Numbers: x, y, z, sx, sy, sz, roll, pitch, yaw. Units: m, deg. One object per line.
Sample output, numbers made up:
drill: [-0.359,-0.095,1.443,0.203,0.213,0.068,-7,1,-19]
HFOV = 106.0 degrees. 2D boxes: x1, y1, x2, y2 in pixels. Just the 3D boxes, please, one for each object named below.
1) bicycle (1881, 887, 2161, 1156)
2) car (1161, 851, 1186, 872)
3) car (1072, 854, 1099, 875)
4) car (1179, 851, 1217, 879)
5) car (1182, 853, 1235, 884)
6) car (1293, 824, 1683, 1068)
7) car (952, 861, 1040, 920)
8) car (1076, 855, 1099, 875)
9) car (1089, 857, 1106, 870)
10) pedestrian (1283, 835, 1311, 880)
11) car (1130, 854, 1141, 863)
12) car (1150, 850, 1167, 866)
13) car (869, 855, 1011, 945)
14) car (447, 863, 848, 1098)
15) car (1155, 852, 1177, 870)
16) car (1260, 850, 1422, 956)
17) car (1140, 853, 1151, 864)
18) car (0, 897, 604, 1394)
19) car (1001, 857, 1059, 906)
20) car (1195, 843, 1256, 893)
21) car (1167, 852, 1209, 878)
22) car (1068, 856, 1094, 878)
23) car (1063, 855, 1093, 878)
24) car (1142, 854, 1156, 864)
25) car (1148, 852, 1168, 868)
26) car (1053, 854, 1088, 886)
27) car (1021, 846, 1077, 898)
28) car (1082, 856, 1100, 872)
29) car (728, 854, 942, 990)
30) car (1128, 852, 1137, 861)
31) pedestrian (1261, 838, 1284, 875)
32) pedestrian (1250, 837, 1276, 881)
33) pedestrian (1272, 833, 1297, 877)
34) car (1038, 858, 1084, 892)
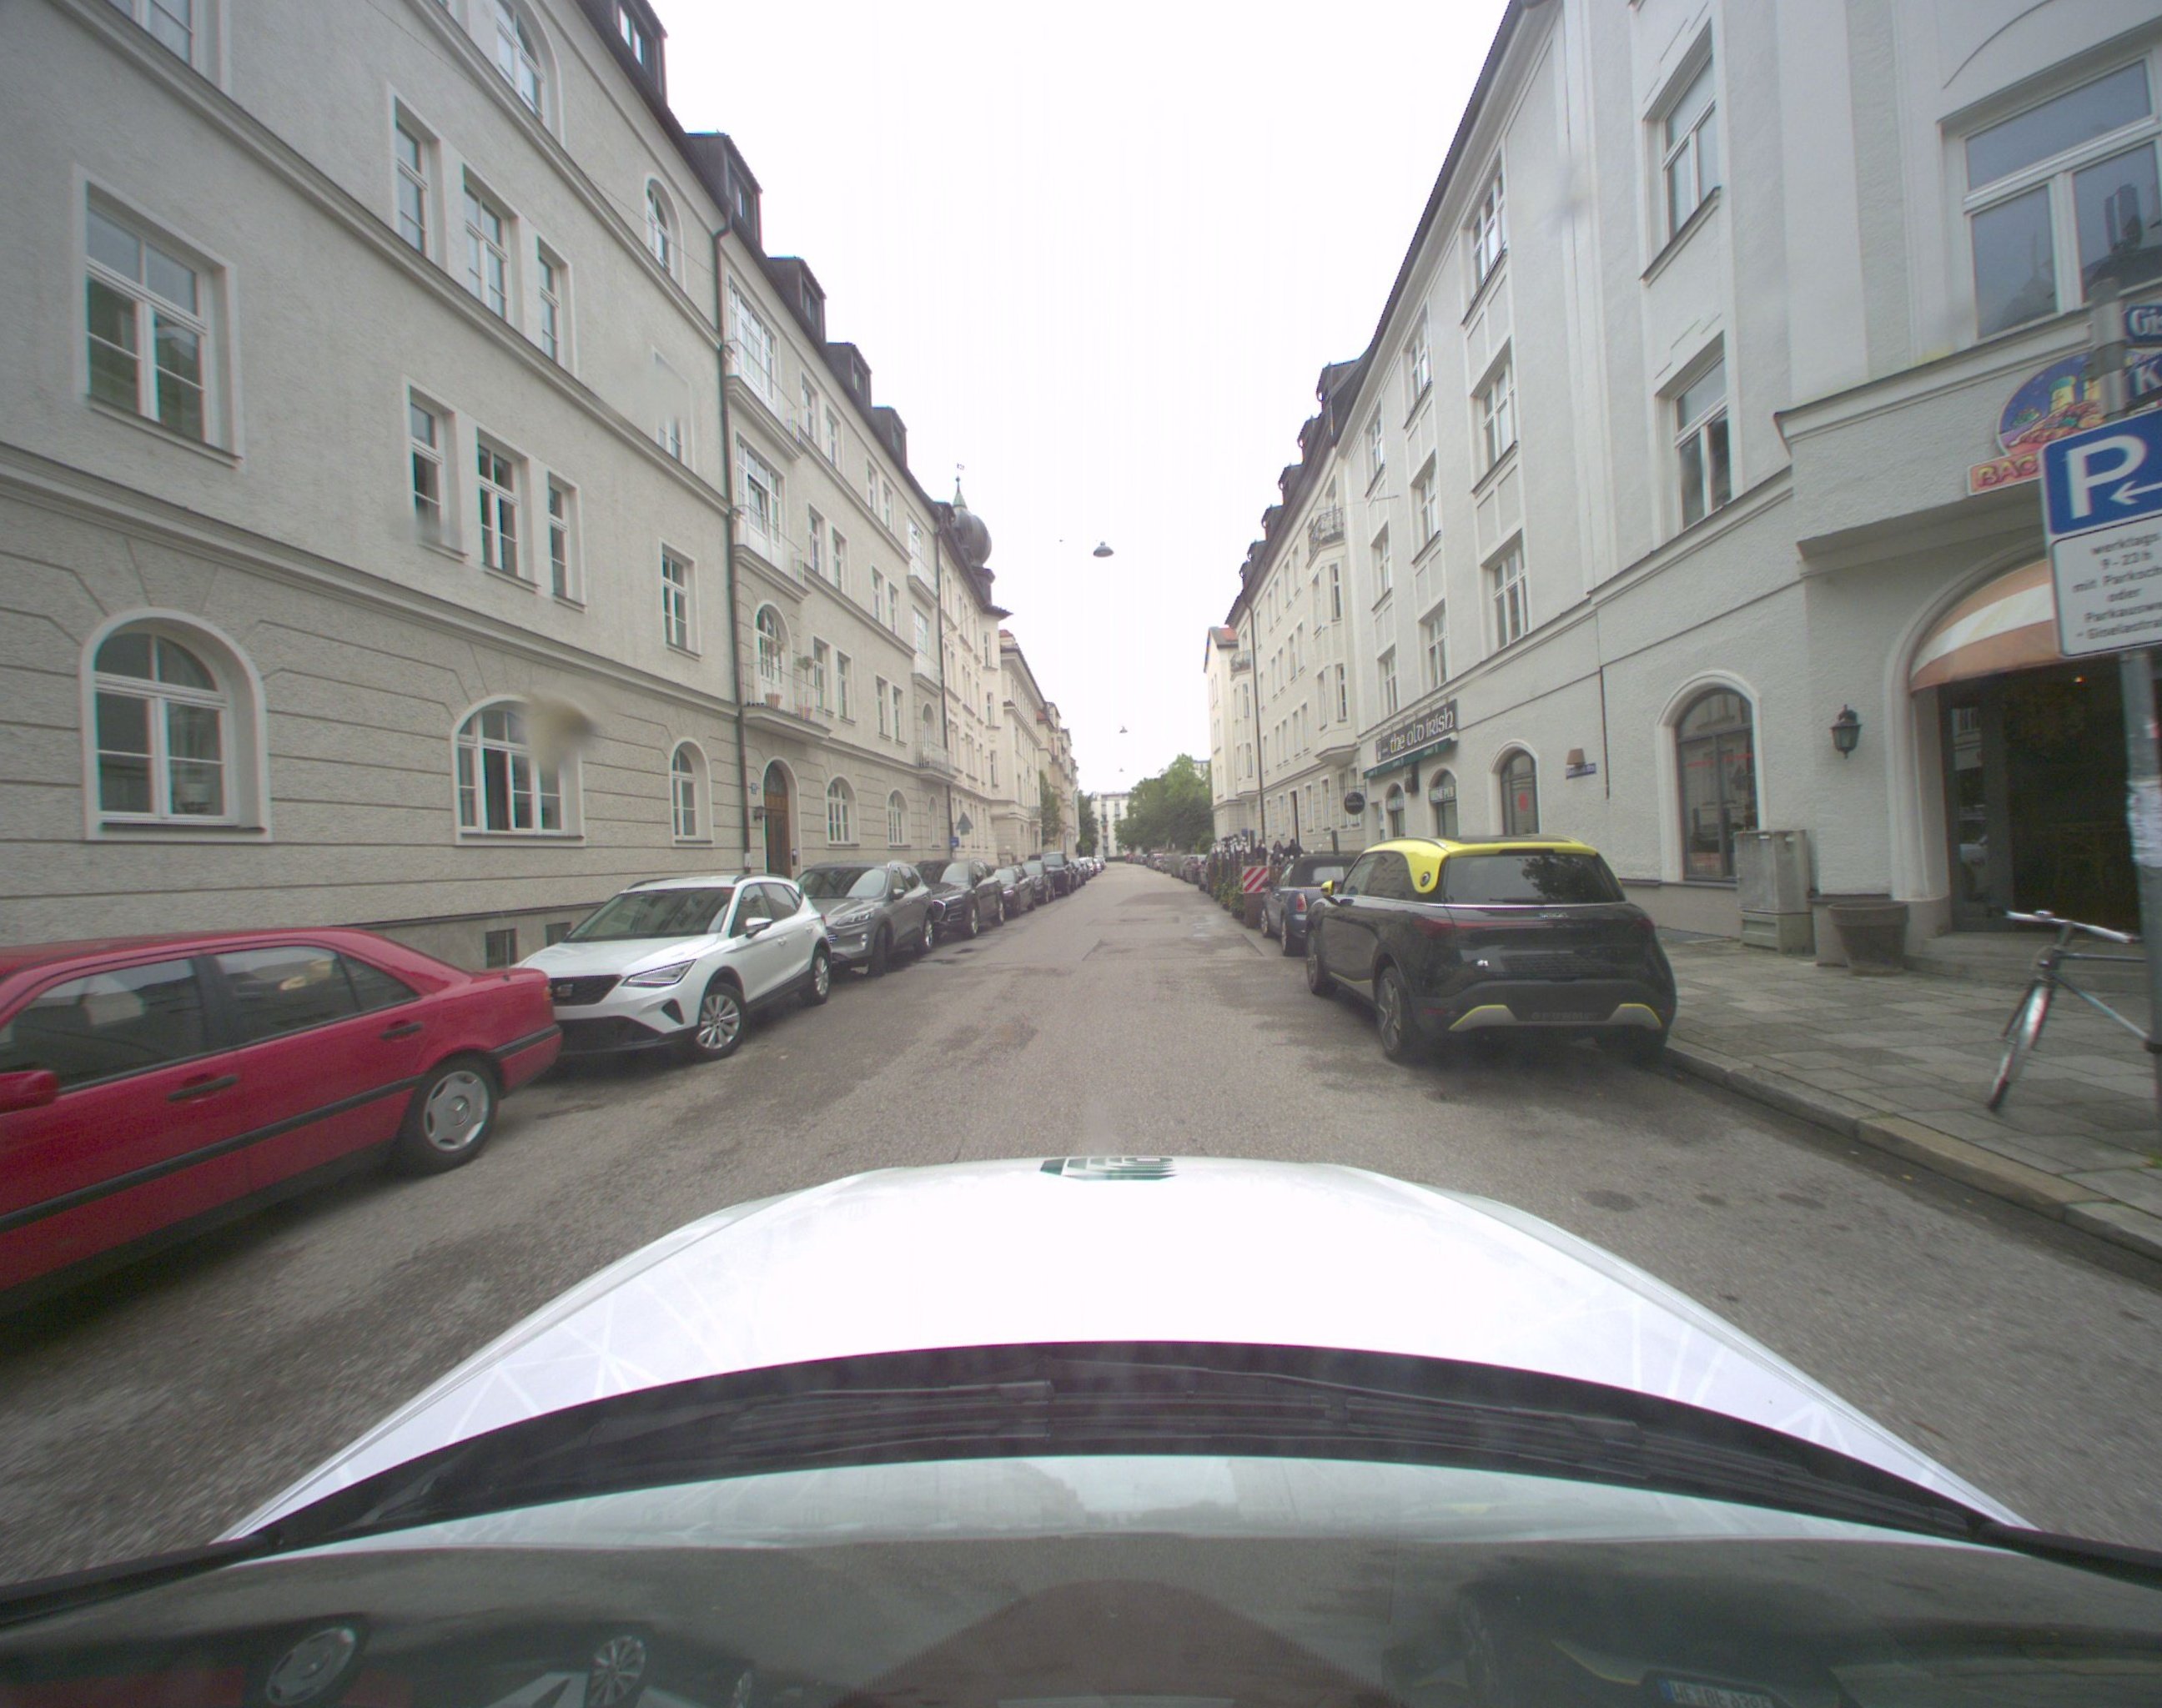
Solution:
bicycle: [4.902,0.720,3.603,0.820,1.065,1.733,-3,0,-22]
car: [7.399,0.583,65.385,1.813,1.569,4.406,0,0,5]
car: [0.379,0.843,67.627,1.907,1.618,4.575,-3,0,3]
car: [6.602,0.594,46.353,1.753,1.485,4.424,0,0,3]
car: [6.302,0.676,40.779,1.831,1.399,4.972,-1,0,-1]
car: [3.252,0.604,7.512,1.828,1.618,4.100,0,0,5]
car: [-2.351,0.977,23.657,1.646,1.407,4.098,-4,0,6]
car: [0.590,0.932,73.122,1.829,1.618,4.247,-3,0,2]
car: [2.133,1.167,103.291,1.829,1.435,4.248,-6,0,3]
pedestrian: [9.095,0.145,34.332,0.879,1.786,1.112,-3,0,3]
car: [10.759,0.880,160.104,1.833,1.519,3.945,-2,-1,-1]
car: [8.893,0.510,93.746,1.715,1.769,4.416,0,-1,3]
car: [-2.910,0.897,17.871,1.867,1.599,4.441,-3,0,6]
car: [-3.716,0.938,7.900,1.689,1.568,3.950,-3,0,0]
car: [7.908,0.638,76.382,1.777,1.504,4.068,-2,0,3]
car: [3.878,0.657,12.700,1.658,1.400,3.497,0,0,5]
car: [10.369,0.687,131.380,1.509,1.661,3.673,-2,-1,0]
car: [-4.251,1.058,3.380,1.674,1.393,4.481,-4,0,2]
car: [-1.805,0.949,29.551,1.610,1.513,3.534,-4,0,3]
car: [5.408,0.484,30.955,1.792,1.675,4.194,-3,0,4]
car: [6.664,0.678,51.306,1.987,1.457,4.713,-3,0,1]
car: [-0.016,0.982,62.542,1.777,1.541,4.256,-5,0,-1]
car: [-0.194,0.882,57.849,1.785,1.415,4.281,-5,0,2]
car: [10.125,0.747,121.649,1.831,1.413,4.345,-2,-1,3]
car: [8.351,0.644,88.578,1.745,1.610,4.422,-1,0,-1]
car: [-0.563,0.883,46.628,1.720,1.618,4.122,-5,0,1]
car: [-1.281,0.708,34.725,1.829,1.894,4.766,-5,0,2]
car: [1.097,1.061,88.582,1.830,1.434,4.245,-5,0,1]
car: [-3.614,0.904,12.855,1.829,1.677,4.216,-3,0,3]
car: [10.804,0.514,170.928,1.828,1.927,4.010,0,0,5]
pedestrian: [9.769,0.136,41.593,0.879,1.813,1.112,-3,0,4]
pedestrian: [7.730,0.191,34.674,0.879,1.811,1.113,-3,0,6]
pedestrian: [9.808,0.042,39.292,0.879,2.013,1.112,-3,0,4]
car: [-0.944,1.022,40.582,1.828,1.394,4.249,-5,0,4]
